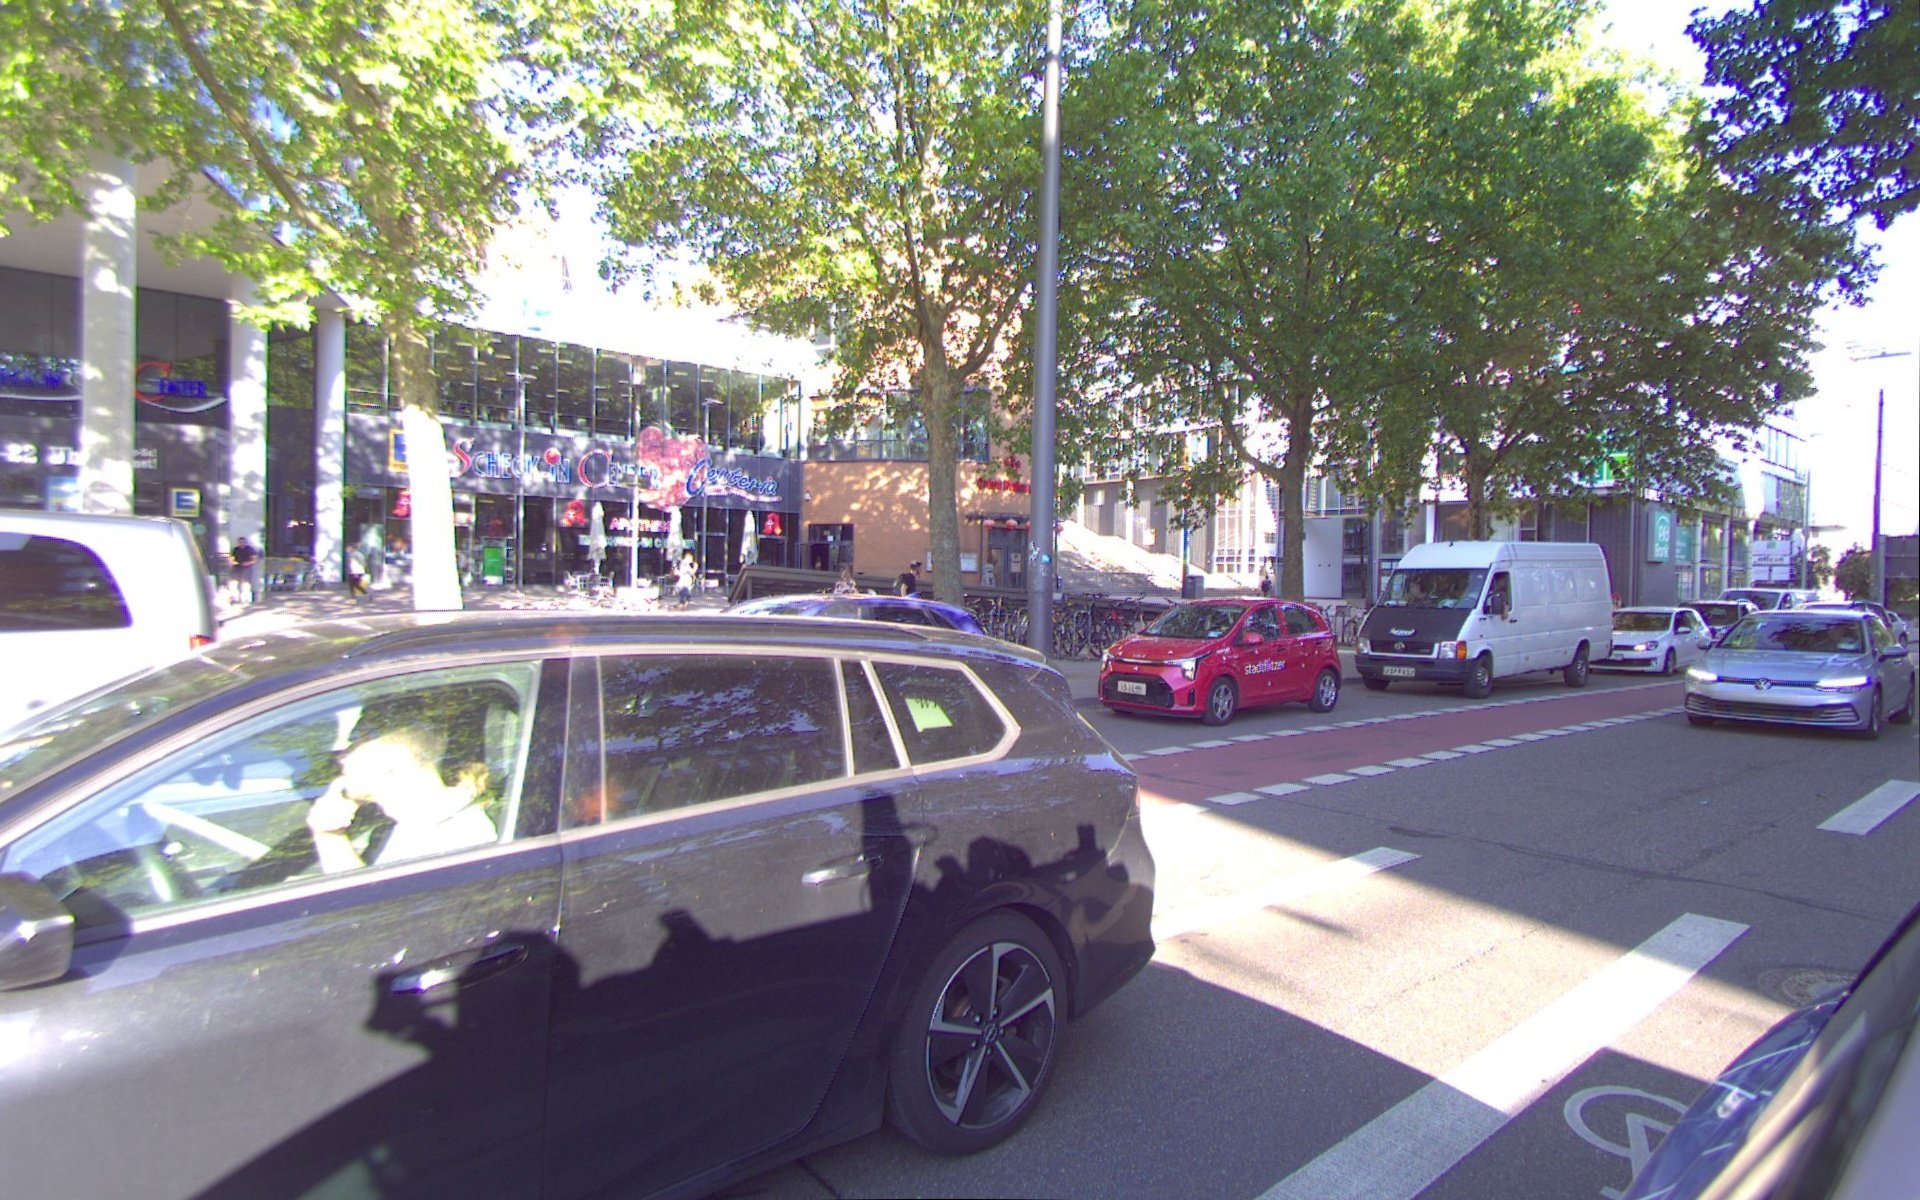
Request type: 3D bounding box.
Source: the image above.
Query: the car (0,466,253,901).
[{"bbox_3d":[-6.211,0.359,4.372,5.008,2.004,1.940,0,2,-41],"label":"car"}]

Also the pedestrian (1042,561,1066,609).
[{"bbox_3d":[4.103,-0.654,44.079,0.575,2.062,0.876,1,1,-35],"label":"pedestrian"}]

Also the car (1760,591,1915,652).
[{"bbox_3d":[25.331,0.584,29.205,4.242,1.640,1.970,0,1,-28],"label":"car"}]

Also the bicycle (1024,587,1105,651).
[{"bbox_3d":[2.110,0.365,20.256,1.818,1.209,0.484,0,1,-41],"label":"bicycle"}]

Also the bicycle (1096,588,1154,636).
[{"bbox_3d":[4.416,0.309,27.032,1.759,1.209,0.517,0,1,-41],"label":"bicycle"}]

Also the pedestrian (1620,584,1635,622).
[{"bbox_3d":[25.110,0.103,38.062,0.492,1.392,0.301,0,1,-37],"label":"pedestrian"}]

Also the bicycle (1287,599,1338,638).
[{"bbox_3d":[9.925,0.508,28.451,1.818,1.046,0.515,0,2,-41],"label":"bicycle"}]

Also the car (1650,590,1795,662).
[{"bbox_3d":[19.177,0.593,25.401,4.148,1.640,1.819,0,1,-36],"label":"car"}]

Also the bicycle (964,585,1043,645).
[{"bbox_3d":[0.935,0.299,21.345,1.818,1.209,0.458,0,1,-41],"label":"bicycle"}]

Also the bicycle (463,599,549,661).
[{"bbox_3d":[-7.121,0.465,15.918,1.198,0.938,0.465,1,1,-22],"label":"bicycle"}]

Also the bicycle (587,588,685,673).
[{"bbox_3d":[-4.436,0.401,13.881,1.202,1.110,0.413,0,1,-40],"label":"bicycle"}]

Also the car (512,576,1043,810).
[{"bbox_3d":[-1.374,0.589,8.653,4.177,1.503,1.742,0,2,-41],"label":"car"}]

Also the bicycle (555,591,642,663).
[{"bbox_3d":[-5.808,0.410,16.306,0.414,1.110,1.269,2,1,41],"label":"bicycle"}]

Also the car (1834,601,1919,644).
[{"bbox_3d":[32.583,0.752,35.774,3.927,1.394,1.802,0,2,-38],"label":"car"}]

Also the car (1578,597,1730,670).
[{"bbox_3d":[15.317,0.678,22.270,3.927,1.446,1.683,0,1,-38],"label":"car"}]

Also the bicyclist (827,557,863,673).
[{"bbox_3d":[-1.799,0.228,15.812,0.392,1.782,0.390,0,1,-41],"label":"bicyclist"}]

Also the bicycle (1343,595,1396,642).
[{"bbox_3d":[11.032,0.481,27.229,1.818,1.209,0.521,0,2,-41],"label":"bicycle"}]

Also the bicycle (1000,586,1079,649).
[{"bbox_3d":[1.628,0.341,20.517,1.818,1.209,0.447,0,1,-41],"label":"bicycle"}]

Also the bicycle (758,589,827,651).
[{"bbox_3d":[-3.105,0.353,18.839,1.202,1.110,0.427,0,1,-40],"label":"bicycle"}]

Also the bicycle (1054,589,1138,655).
[{"bbox_3d":[2.621,0.401,19.362,1.818,1.209,0.481,0,1,-41],"label":"bicycle"}]

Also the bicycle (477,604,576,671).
[{"bbox_3d":[-6.239,0.521,14.593,1.231,0.898,0.462,0,1,-40],"label":"bicycle"}]

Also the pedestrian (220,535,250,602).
[{"bbox_3d":[-18.762,-0.802,26.195,0.506,1.707,0.604,1,1,-23],"label":"pedestrian"}]

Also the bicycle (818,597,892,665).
[{"bbox_3d":[-1.772,0.508,17.115,1.202,1.110,0.420,0,1,-40],"label":"bicycle"}]

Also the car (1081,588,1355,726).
[{"bbox_3d":[3.343,0.611,12.817,3.588,1.476,1.605,0,1,-41],"label":"car"}]

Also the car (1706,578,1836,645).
[{"bbox_3d":[26.365,0.346,32.847,4.863,2.020,1.968,0,1,-35],"label":"car"}]

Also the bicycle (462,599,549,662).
[{"bbox_3d":[-6.959,0.456,15.540,1.198,0.930,0.442,1,1,-22],"label":"bicycle"}]

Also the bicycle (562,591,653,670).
[{"bbox_3d":[-5.158,0.426,14.837,1.202,1.110,0.396,0,1,-40],"label":"bicycle"}]

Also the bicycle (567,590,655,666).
[{"bbox_3d":[-5.360,0.408,15.585,0.372,1.110,1.269,2,1,41],"label":"bicycle"}]

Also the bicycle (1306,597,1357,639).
[{"bbox_3d":[10.309,0.492,28.041,1.766,1.108,0.522,0,2,-41],"label":"bicycle"}]

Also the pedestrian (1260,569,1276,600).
[{"bbox_3d":[15.831,-0.795,52.021,0.707,1.578,0.638,1,1,14],"label":"pedestrian"}]

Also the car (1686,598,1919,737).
[{"bbox_3d":[10.650,0.710,12.553,3.928,1.458,1.733,0,0,-39],"label":"car"}]

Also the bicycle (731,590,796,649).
[{"bbox_3d":[-3.888,0.375,20.046,1.202,1.110,0.429,0,1,-40],"label":"bicycle"}]

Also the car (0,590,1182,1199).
[{"bbox_3d":[-1.446,0.695,2.458,4.196,1.432,1.742,0,0,-41],"label":"car"}]

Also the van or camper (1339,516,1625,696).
[{"bbox_3d":[9.230,0.073,17.542,6.456,2.611,1.998,0,0,-39],"label":"van or camper"}]

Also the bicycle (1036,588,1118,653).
[{"bbox_3d":[2.298,0.390,19.747,1.818,1.209,0.448,0,1,-41],"label":"bicycle"}]

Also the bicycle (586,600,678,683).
[{"bbox_3d":[-4.581,0.566,14.178,1.202,1.110,0.269,0,1,-40],"label":"bicycle"}]

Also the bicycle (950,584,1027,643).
[{"bbox_3d":[0.636,0.274,21.698,1.818,1.209,0.434,0,1,-41],"label":"bicycle"}]

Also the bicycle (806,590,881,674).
[{"bbox_3d":[-1.806,0.483,15.807,1.126,1.271,0.379,0,1,-41],"label":"bicycle"}]

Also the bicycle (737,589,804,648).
[{"bbox_3d":[-3.643,0.346,19.502,1.202,1.110,0.444,0,1,-40],"label":"bicycle"}]

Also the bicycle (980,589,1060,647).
[{"bbox_3d":[1.255,0.354,20.966,1.818,1.139,0.484,0,2,-41],"label":"bicycle"}]

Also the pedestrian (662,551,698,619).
[{"bbox_3d":[-7.560,-0.399,27.359,0.869,1.805,0.604,1,1,-11],"label":"pedestrian"}]

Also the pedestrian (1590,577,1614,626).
[{"bbox_3d":[23.940,0.045,37.748,0.443,1.790,0.627,0,1,-38],"label":"pedestrian"}]

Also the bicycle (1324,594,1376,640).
[{"bbox_3d":[10.664,0.459,27.628,1.818,1.209,0.495,0,1,-41],"label":"bicycle"}]

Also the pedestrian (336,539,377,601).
[{"bbox_3d":[-16.986,-0.841,28.467,0.800,1.728,0.709,2,1,33],"label":"pedestrian"}]
